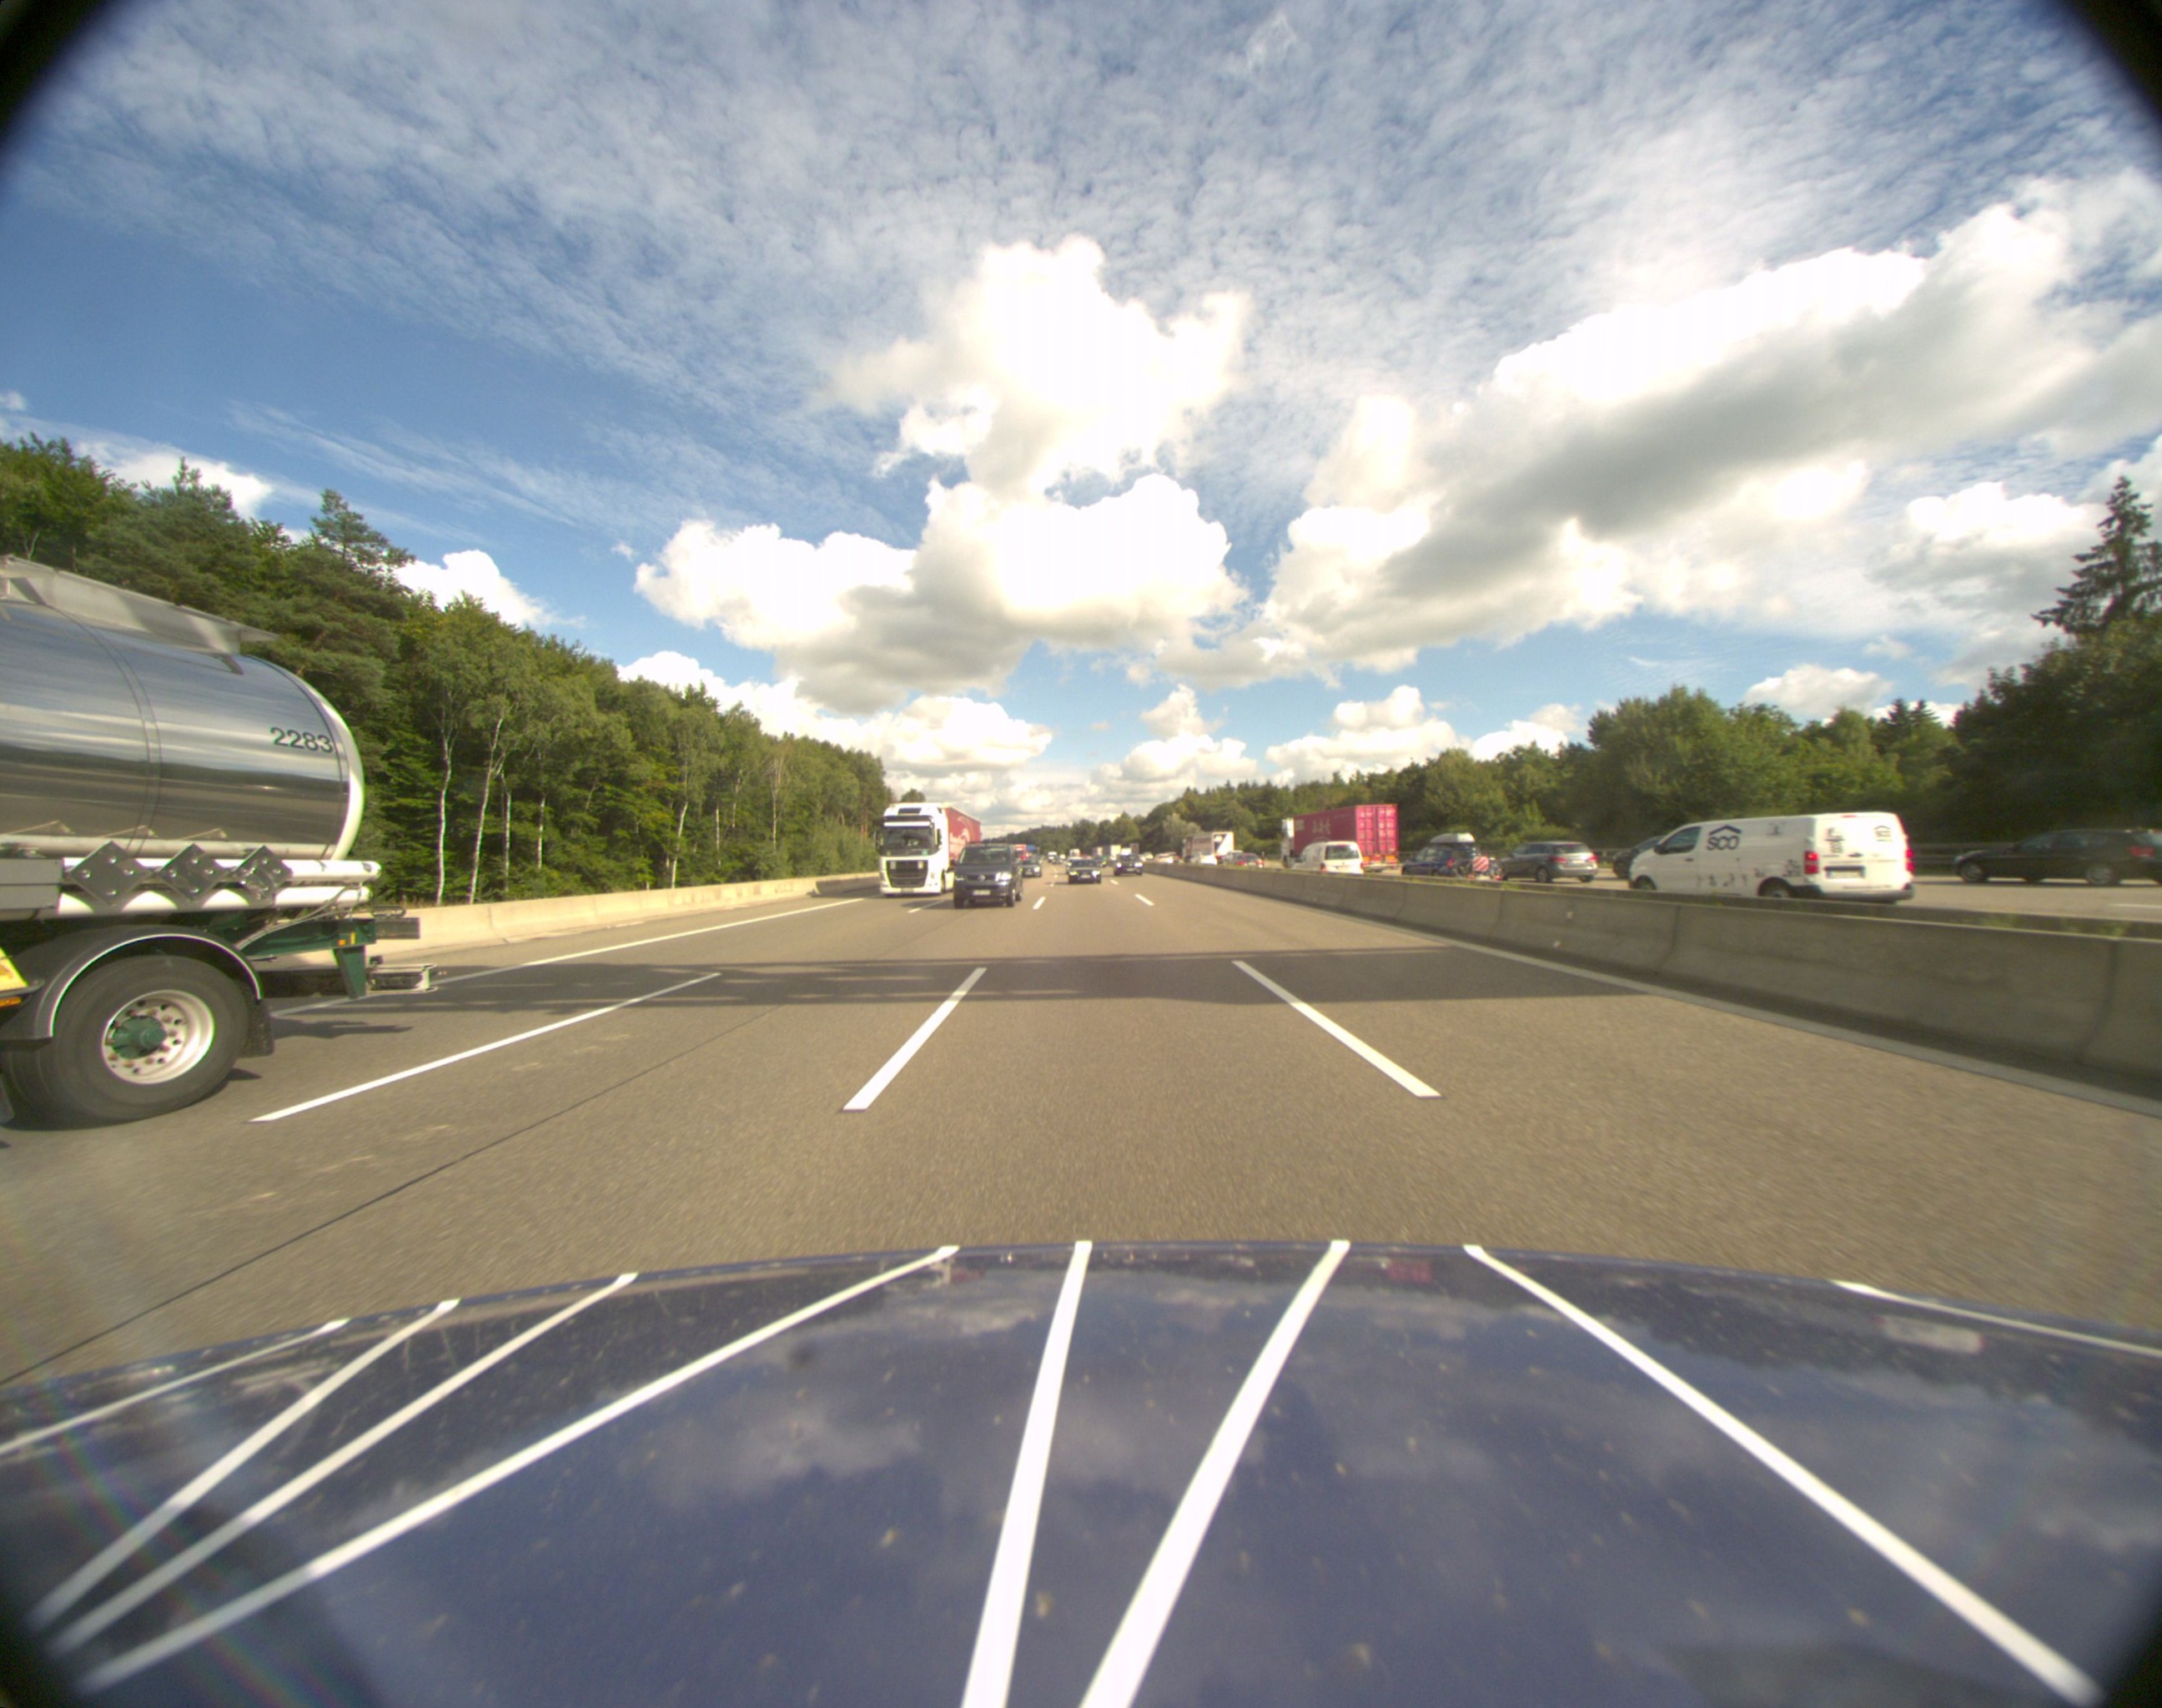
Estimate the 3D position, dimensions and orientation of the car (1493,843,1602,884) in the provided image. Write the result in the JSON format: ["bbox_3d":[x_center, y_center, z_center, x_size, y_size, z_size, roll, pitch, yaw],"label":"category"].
[{"bbox_3d":[17.711,0.337,29.057,1.642,1.407,3.999,-2,0,-1],"label":"car"}]

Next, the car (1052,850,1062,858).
[{"bbox_3d":[-5.587,-0.005,177.390,2.153,1.806,4.675,-2,0,-4],"label":"car"}]

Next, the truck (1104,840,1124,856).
[{"bbox_3d":[8.797,-1.475,204.640,2.828,4.070,13.834,-2,0,-8],"label":"truck"}]

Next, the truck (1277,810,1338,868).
[{"bbox_3d":[17.115,-1.109,57.840,2.746,4.083,5.763,-2,1,-1],"label":"truck"}]

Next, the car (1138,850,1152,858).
[{"bbox_3d":[11.208,0.030,133.616,1.999,1.354,4.381,-2,0,-2],"label":"car"}]

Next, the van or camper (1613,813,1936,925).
[{"bbox_3d":[13.650,0.247,15.550,1.867,1.839,5.154,-2,0,-1],"label":"van or camper"}]

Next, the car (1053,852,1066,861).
[{"bbox_3d":[-4.083,0.414,143.285,2.153,1.540,4.675,-2,0,-4],"label":"car"}]

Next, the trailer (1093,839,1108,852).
[{"bbox_3d":[5.885,-2.647,231.517,2.976,3.835,11.273,-2,0,-6],"label":"trailer"}]

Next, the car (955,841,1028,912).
[{"bbox_3d":[-2.857,0.667,25.281,1.854,2.097,4.931,-2,0,-1],"label":"car"}]

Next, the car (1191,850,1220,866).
[{"bbox_3d":[12.536,0.343,76.774,1.862,1.517,4.993,-2,0,-2],"label":"car"}]

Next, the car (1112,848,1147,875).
[{"bbox_3d":[3.524,0.511,56.176,2.153,1.800,5.098,-2,1,-1],"label":"car"}]

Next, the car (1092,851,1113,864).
[{"bbox_3d":[2.667,0.431,94.228,2.153,1.540,4.675,-2,0,-3],"label":"car"}]

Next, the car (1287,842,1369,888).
[{"bbox_3d":[9.818,0.394,30.525,1.774,1.639,4.519,-2,0,0],"label":"car"}]

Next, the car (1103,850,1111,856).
[{"bbox_3d":[6.482,-0.276,190.690,1.789,1.462,4.329,0,0,-3],"label":"car"}]

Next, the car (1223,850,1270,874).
[{"bbox_3d":[10.234,0.472,47.335,1.798,1.367,4.548,-2,0,-2],"label":"car"}]

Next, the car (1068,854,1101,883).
[{"bbox_3d":[0.245,0.772,43.133,1.733,1.500,4.728,-2,0,2],"label":"car"}]

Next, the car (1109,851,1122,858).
[{"bbox_3d":[6.217,0.143,137.457,1.816,1.154,4.512,-2,0,-6],"label":"car"}]

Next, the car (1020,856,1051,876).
[{"bbox_3d":[-3.597,0.887,59.712,2.154,1.426,5.096,-1,0,-6],"label":"car"}]

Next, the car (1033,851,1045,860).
[{"bbox_3d":[-7.813,0.291,142.645,2.153,1.540,4.675,-2,0,-3],"label":"car"}]

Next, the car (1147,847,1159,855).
[{"bbox_3d":[16.285,-0.709,171.464,2.177,1.674,4.785,-2,0,-1],"label":"car"}]

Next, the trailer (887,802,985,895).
[{"bbox_3d":[-7.254,-0.256,40.438,2.781,4.021,13.710,-2,0,-1],"label":"trailer"}]

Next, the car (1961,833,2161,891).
[{"bbox_3d":[25.399,0.154,19.086,1.706,1.280,4.183,-2,0,0],"label":"car"}]

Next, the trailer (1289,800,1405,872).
[{"bbox_3d":[17.218,-1.086,50.565,2.746,4.083,13.414,-2,0,-1],"label":"trailer"}]

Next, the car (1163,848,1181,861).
[{"bbox_3d":[12.197,0.050,101.848,1.713,1.584,4.943,-2,0,0],"label":"car"}]

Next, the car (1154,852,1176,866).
[{"bbox_3d":[9.009,0.505,81.858,1.774,1.433,4.850,-2,0,-1],"label":"car"}]

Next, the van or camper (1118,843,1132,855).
[{"bbox_3d":[10.509,-1.225,181.100,2.381,2.875,6.502,0,0,-5],"label":"van or camper"}]

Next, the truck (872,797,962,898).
[{"bbox_3d":[-7.137,-0.269,33.870,2.781,4.022,5.772,-2,0,-1],"label":"truck"}]

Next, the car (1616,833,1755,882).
[{"bbox_3d":[21.946,0.114,27.804,1.821,1.604,4.147,-2,0,1],"label":"car"}]

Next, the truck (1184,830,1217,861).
[{"bbox_3d":[16.638,-1.189,106.159,3.327,4.083,6.223,-2,1,-3],"label":"truck"}]

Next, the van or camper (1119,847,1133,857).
[{"bbox_3d":[9.381,-0.439,157.817,2.000,1.926,5.454,-2,0,-6],"label":"van or camper"}]

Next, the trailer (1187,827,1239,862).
[{"bbox_3d":[17.055,-1.169,99.742,3.327,4.083,14.148,-2,0,-4],"label":"trailer"}]

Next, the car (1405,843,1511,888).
[{"bbox_3d":[14.070,0.381,28.714,1.702,1.519,4.684,-2,0,1],"label":"car"}]

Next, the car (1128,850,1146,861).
[{"bbox_3d":[7.928,0.198,107.371,1.999,1.354,4.618,-2,0,-2],"label":"car"}]

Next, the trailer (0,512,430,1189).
[{"bbox_3d":[-7.288,0.003,0.981,2.655,3.745,11.858,-1,0,0],"label":"trailer"}]

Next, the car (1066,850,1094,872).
[{"bbox_3d":[-0.126,0.588,67.831,2.153,1.800,5.097,-2,1,-3],"label":"car"}]

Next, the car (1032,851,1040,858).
[{"bbox_3d":[-13.081,0.086,221.511,2.153,1.806,4.675,-2,0,-4],"label":"car"}]

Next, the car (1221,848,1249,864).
[{"bbox_3d":[16.484,0.153,81.621,1.798,1.608,5.043,-2,0,-2],"label":"car"}]

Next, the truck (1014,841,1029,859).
[{"bbox_3d":[-12.874,-0.823,164.712,3.019,3.662,7.558,-1,0,-4],"label":"truck"}]
